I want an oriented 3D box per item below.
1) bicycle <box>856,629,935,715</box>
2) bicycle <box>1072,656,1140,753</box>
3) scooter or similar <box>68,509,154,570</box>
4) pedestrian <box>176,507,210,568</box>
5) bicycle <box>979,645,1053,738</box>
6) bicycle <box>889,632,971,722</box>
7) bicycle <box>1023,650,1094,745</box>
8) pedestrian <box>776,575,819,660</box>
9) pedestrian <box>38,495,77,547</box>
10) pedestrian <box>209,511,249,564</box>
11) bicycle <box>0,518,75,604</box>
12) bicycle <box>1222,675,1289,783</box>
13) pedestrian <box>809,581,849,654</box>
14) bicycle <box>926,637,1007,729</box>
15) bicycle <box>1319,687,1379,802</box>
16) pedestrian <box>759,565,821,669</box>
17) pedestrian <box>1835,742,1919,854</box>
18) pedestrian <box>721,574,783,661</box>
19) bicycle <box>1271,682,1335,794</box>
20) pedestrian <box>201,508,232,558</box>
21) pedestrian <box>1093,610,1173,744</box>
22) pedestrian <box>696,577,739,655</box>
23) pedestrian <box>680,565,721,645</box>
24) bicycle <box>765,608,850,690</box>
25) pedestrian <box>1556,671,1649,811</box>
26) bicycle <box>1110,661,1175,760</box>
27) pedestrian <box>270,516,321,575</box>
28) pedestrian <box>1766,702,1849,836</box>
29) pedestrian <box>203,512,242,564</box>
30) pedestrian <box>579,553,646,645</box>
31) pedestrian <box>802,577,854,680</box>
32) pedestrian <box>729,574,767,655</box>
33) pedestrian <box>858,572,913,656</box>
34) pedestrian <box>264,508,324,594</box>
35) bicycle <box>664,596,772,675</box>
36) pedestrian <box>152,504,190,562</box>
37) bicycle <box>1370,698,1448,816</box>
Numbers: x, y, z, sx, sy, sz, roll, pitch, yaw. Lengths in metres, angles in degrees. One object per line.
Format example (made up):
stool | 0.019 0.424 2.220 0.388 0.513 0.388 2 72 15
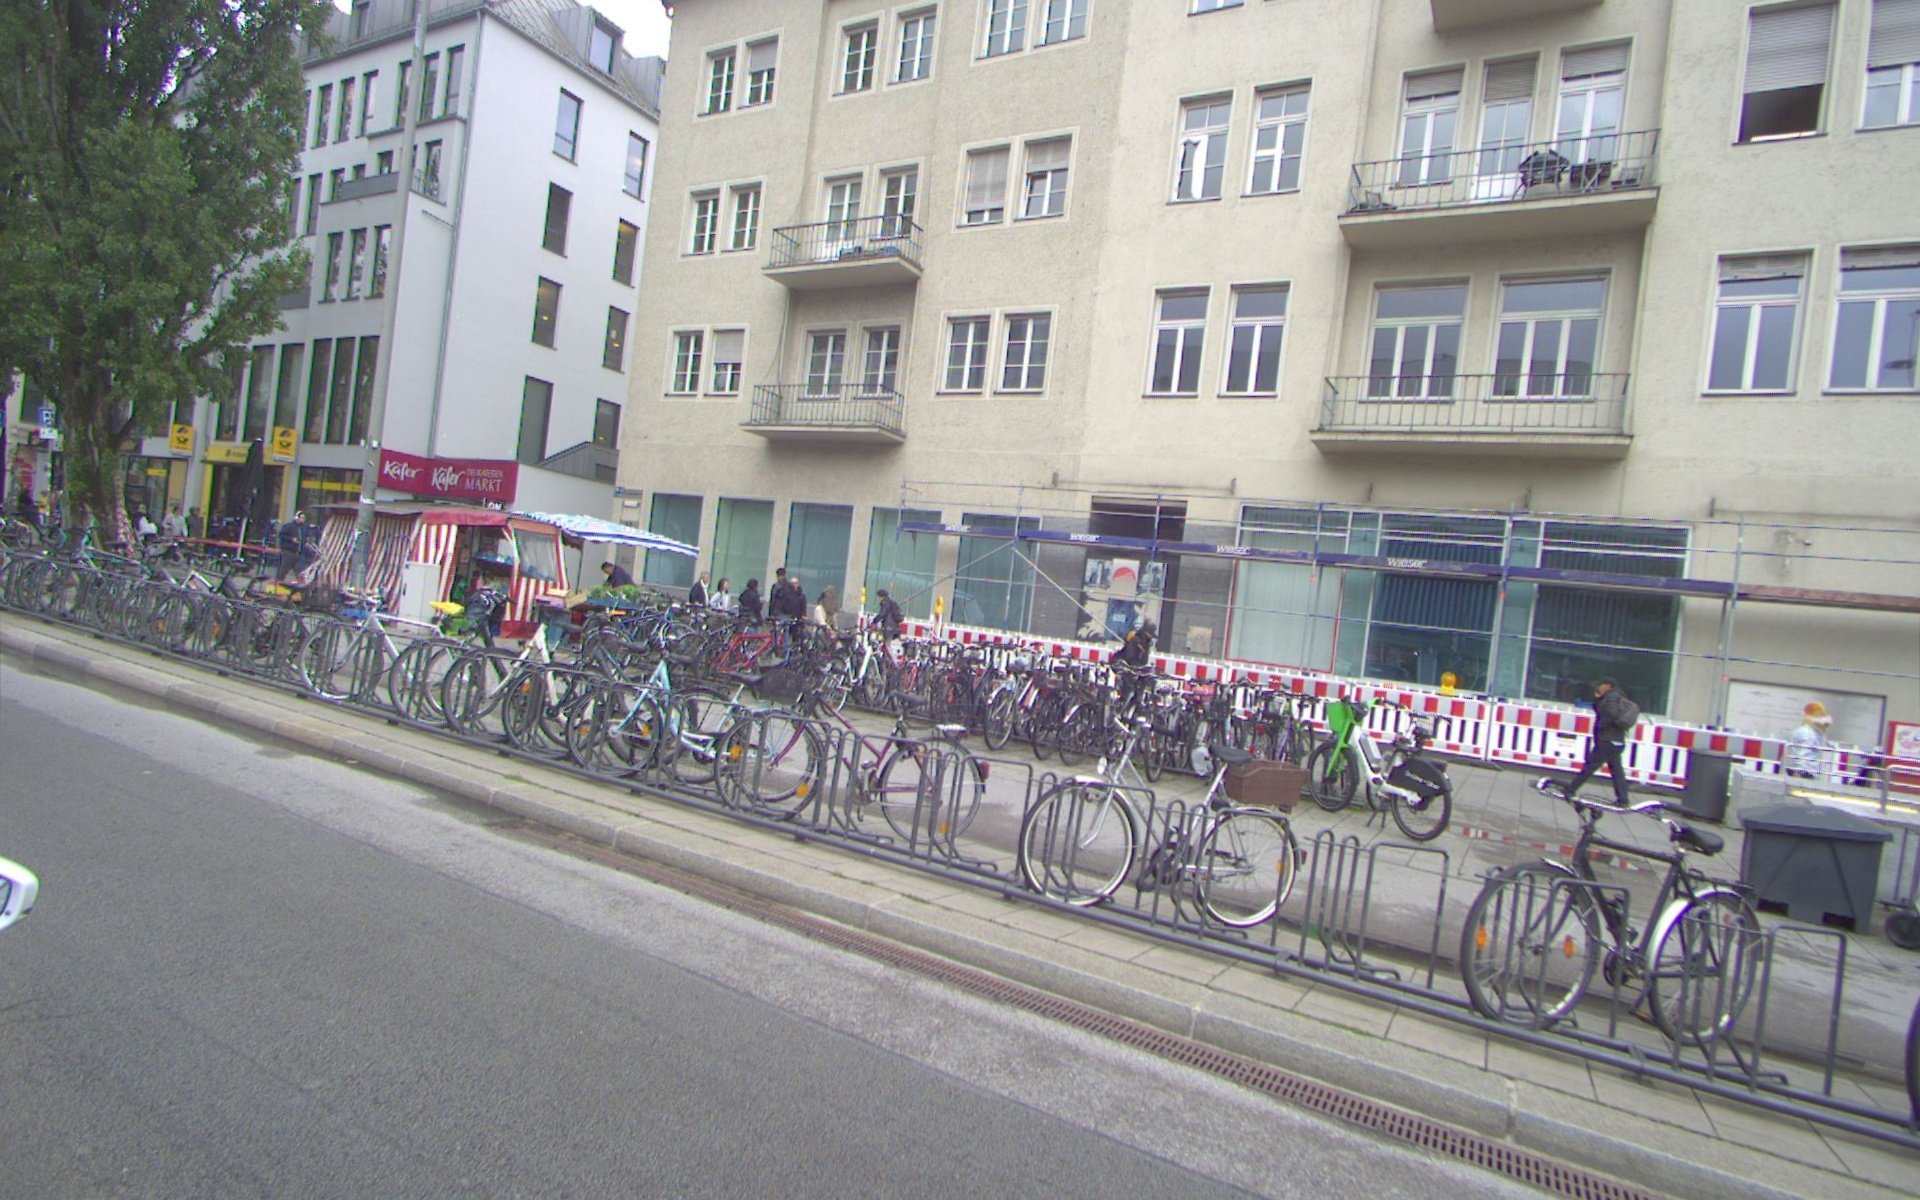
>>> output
bicycle | -0.866 0.974 13.894 0.403 1.091 1.452 7 1 22
bicycle | 1.853 1.281 12.653 0.403 1.091 1.452 7 1 22
scooter or similar | -19.382 -1.365 22.995 0.393 1.222 1.470 7 0 13
pedestrian | -23.000 -1.873 30.168 0.588 1.723 0.579 7 2 39
bicycle | 0.750 1.152 13.041 0.403 1.091 1.452 7 1 22
bicycle | -0.376 1.011 13.523 0.403 1.091 1.535 7 1 23
bicycle | 1.274 1.213 12.853 0.403 1.091 1.452 7 1 22
pedestrian | -3.186 0.332 19.692 0.546 1.585 0.650 6 1 -22
pedestrian | -32.224 -2.796 35.943 0.711 1.746 0.736 6 1 -22
pedestrian | -24.116 -2.060 33.185 0.760 1.605 0.691 7 1 31
bicycle | -13.489 -0.622 13.972 1.556 1.065 0.544 11 -2 -21
bicycle | 3.409 1.440 11.528 0.403 1.091 1.451 7 1 26
pedestrian | -3.050 0.400 23.457 0.598 1.623 0.465 7 1 28
bicycle | 0.115 1.062 13.202 0.403 1.091 1.535 7 1 23
bicycle | 4.298 1.550 11.073 0.403 1.091 1.451 7 1 26
pedestrian | -3.196 0.322 18.923 0.716 1.851 0.718 7 1 16
pedestrian | 12.009 2.546 12.943 0.903 1.261 0.700 6 0 30
pedestrian | -3.945 0.342 19.079 0.717 1.547 0.677 7 1 32
bicycle | 3.867 1.502 11.279 0.403 1.091 1.451 7 1 26
pedestrian | -26.441 -2.391 35.767 0.688 1.669 0.788 6 1 -43
pedestrian | 2.394 1.047 13.968 0.693 1.730 0.738 7 1 -10
pedestrian | -5.100 0.334 21.176 0.458 1.558 0.560 6 -1 31
pedestrian | -5.773 0.122 22.366 0.495 1.694 0.541 7 -1 12
bicycle | -2.253 0.727 15.078 0.402 1.117 1.633 7 0 21
pedestrian | 8.314 1.801 13.025 0.821 1.652 0.563 7 1 34
bicycle | 2.266 1.325 12.400 0.403 1.091 1.452 7 1 22
pedestrian | -20.416 -1.673 30.909 1.006 1.657 0.800 7 1 31
pedestrian | 10.699 2.109 12.715 0.580 1.560 0.565 6 0 29
pedestrian | -22.803 -1.898 31.117 0.640 1.493 0.756 7 -1 -21
pedestrian | -6.785 -0.010 19.673 0.717 1.694 0.794 7 1 30
pedestrian | -2.155 0.464 16.467 0.526 1.602 0.662 7 1 7
pedestrian | -4.582 0.320 21.758 0.463 1.692 0.527 7 -1 6
pedestrian | -1.558 0.297 21.110 0.752 1.671 0.601 7 1 30
pedestrian | -14.926 -1.091 22.558 0.563 1.816 0.793 6 -1 37
bicycle | -3.748 0.569 15.673 0.404 1.117 1.627 7 1 39
pedestrian | -23.193 -1.977 29.568 0.625 1.603 0.641 7 1 39
bicycle | 4.829 1.634 10.762 0.403 1.091 1.647 7 1 33
